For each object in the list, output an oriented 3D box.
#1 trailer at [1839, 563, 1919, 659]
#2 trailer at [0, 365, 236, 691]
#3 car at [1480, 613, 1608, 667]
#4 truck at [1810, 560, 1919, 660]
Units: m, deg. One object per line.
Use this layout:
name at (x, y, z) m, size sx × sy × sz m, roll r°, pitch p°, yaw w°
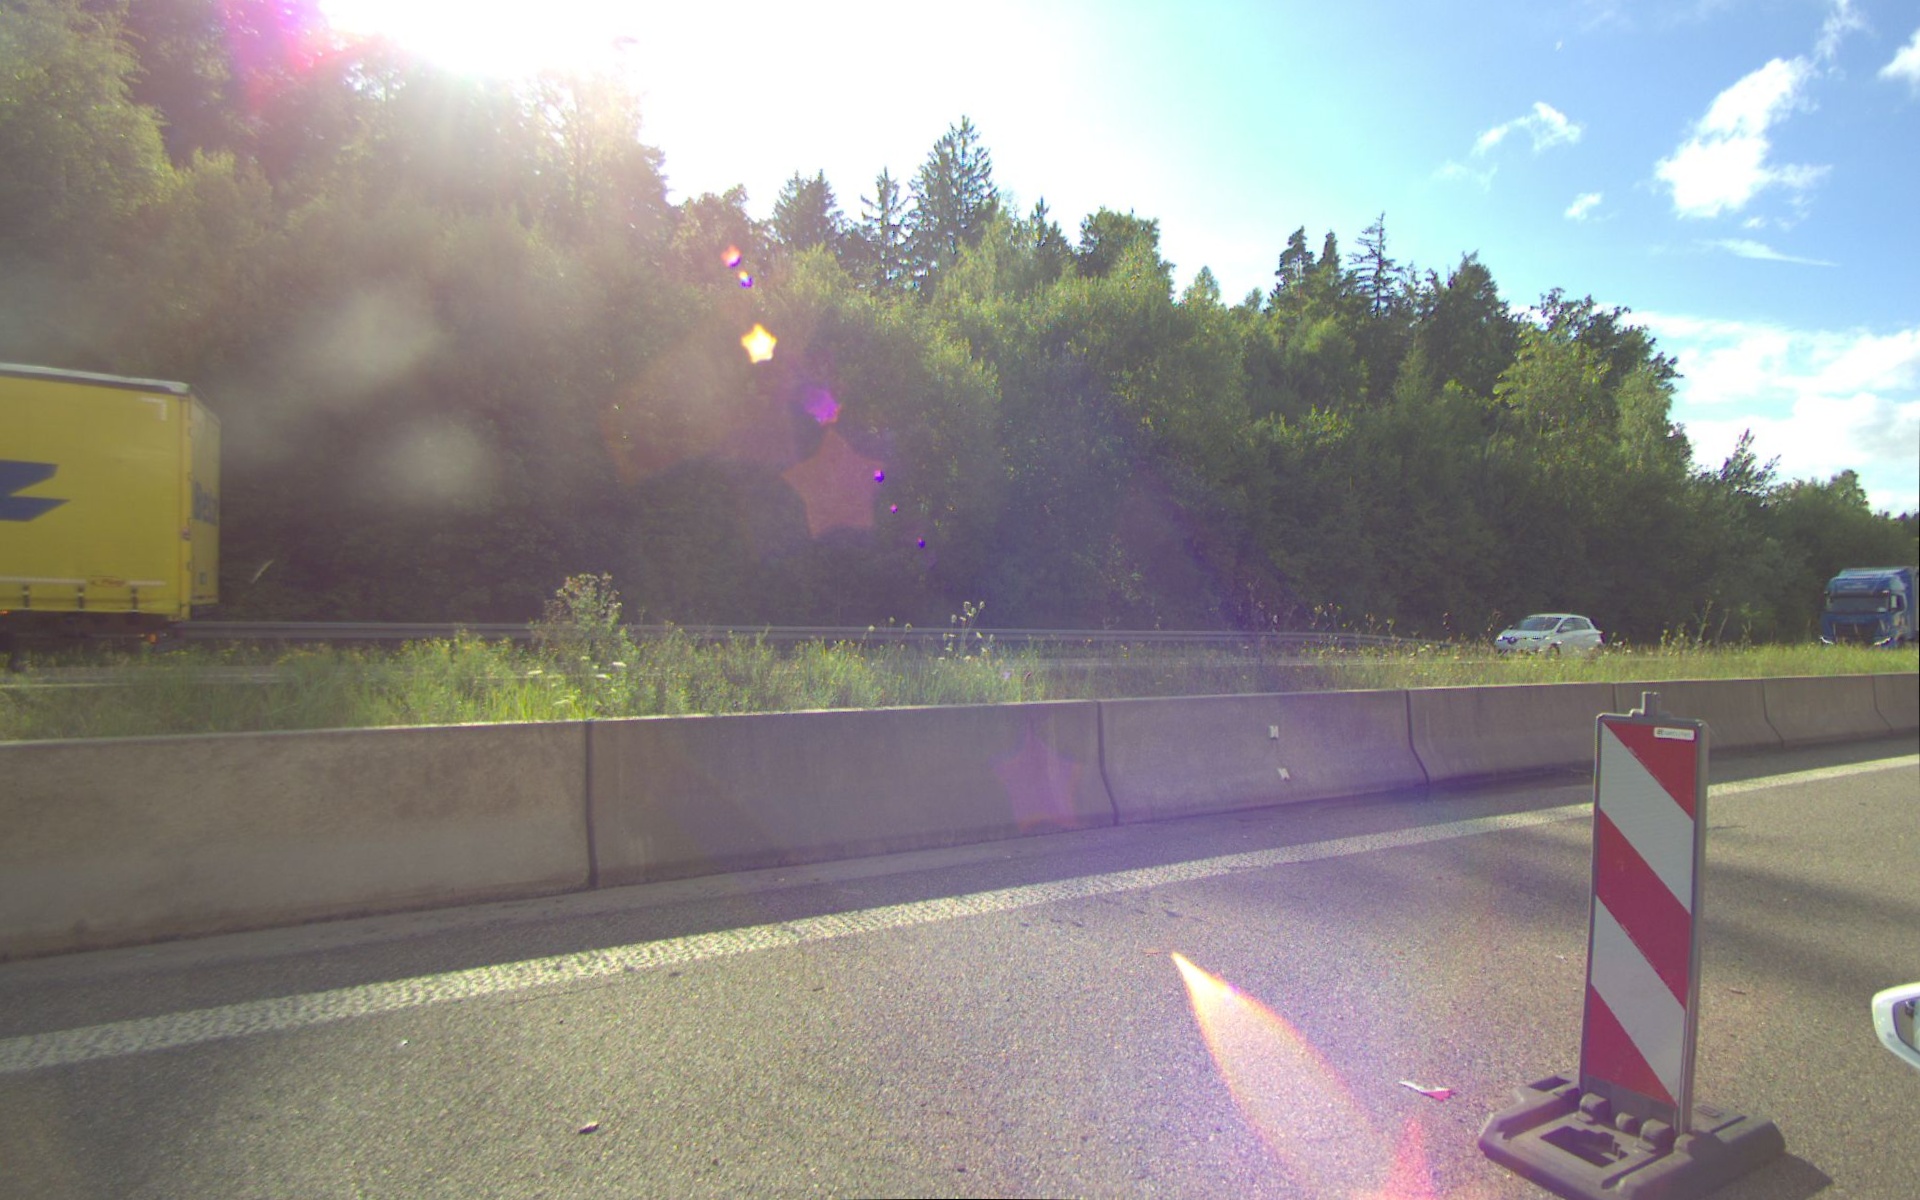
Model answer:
trailer at (47.063, 0.620, 48.744) m, size 13.216 × 4.196 × 2.607 m, roll 1°, pitch 0°, yaw -31°
trailer at (-16.629, -1.039, 10.992) m, size 13.777 × 3.974 × 2.814 m, roll 2°, pitch 0°, yaw -31°
car at (18.474, 1.262, 31.764) m, size 3.953 × 1.581 × 1.778 m, roll 2°, pitch 0°, yaw -30°
truck at (41.050, 0.459, 45.177) m, size 5.403 × 4.245 × 2.625 m, roll 1°, pitch 0°, yaw -30°
